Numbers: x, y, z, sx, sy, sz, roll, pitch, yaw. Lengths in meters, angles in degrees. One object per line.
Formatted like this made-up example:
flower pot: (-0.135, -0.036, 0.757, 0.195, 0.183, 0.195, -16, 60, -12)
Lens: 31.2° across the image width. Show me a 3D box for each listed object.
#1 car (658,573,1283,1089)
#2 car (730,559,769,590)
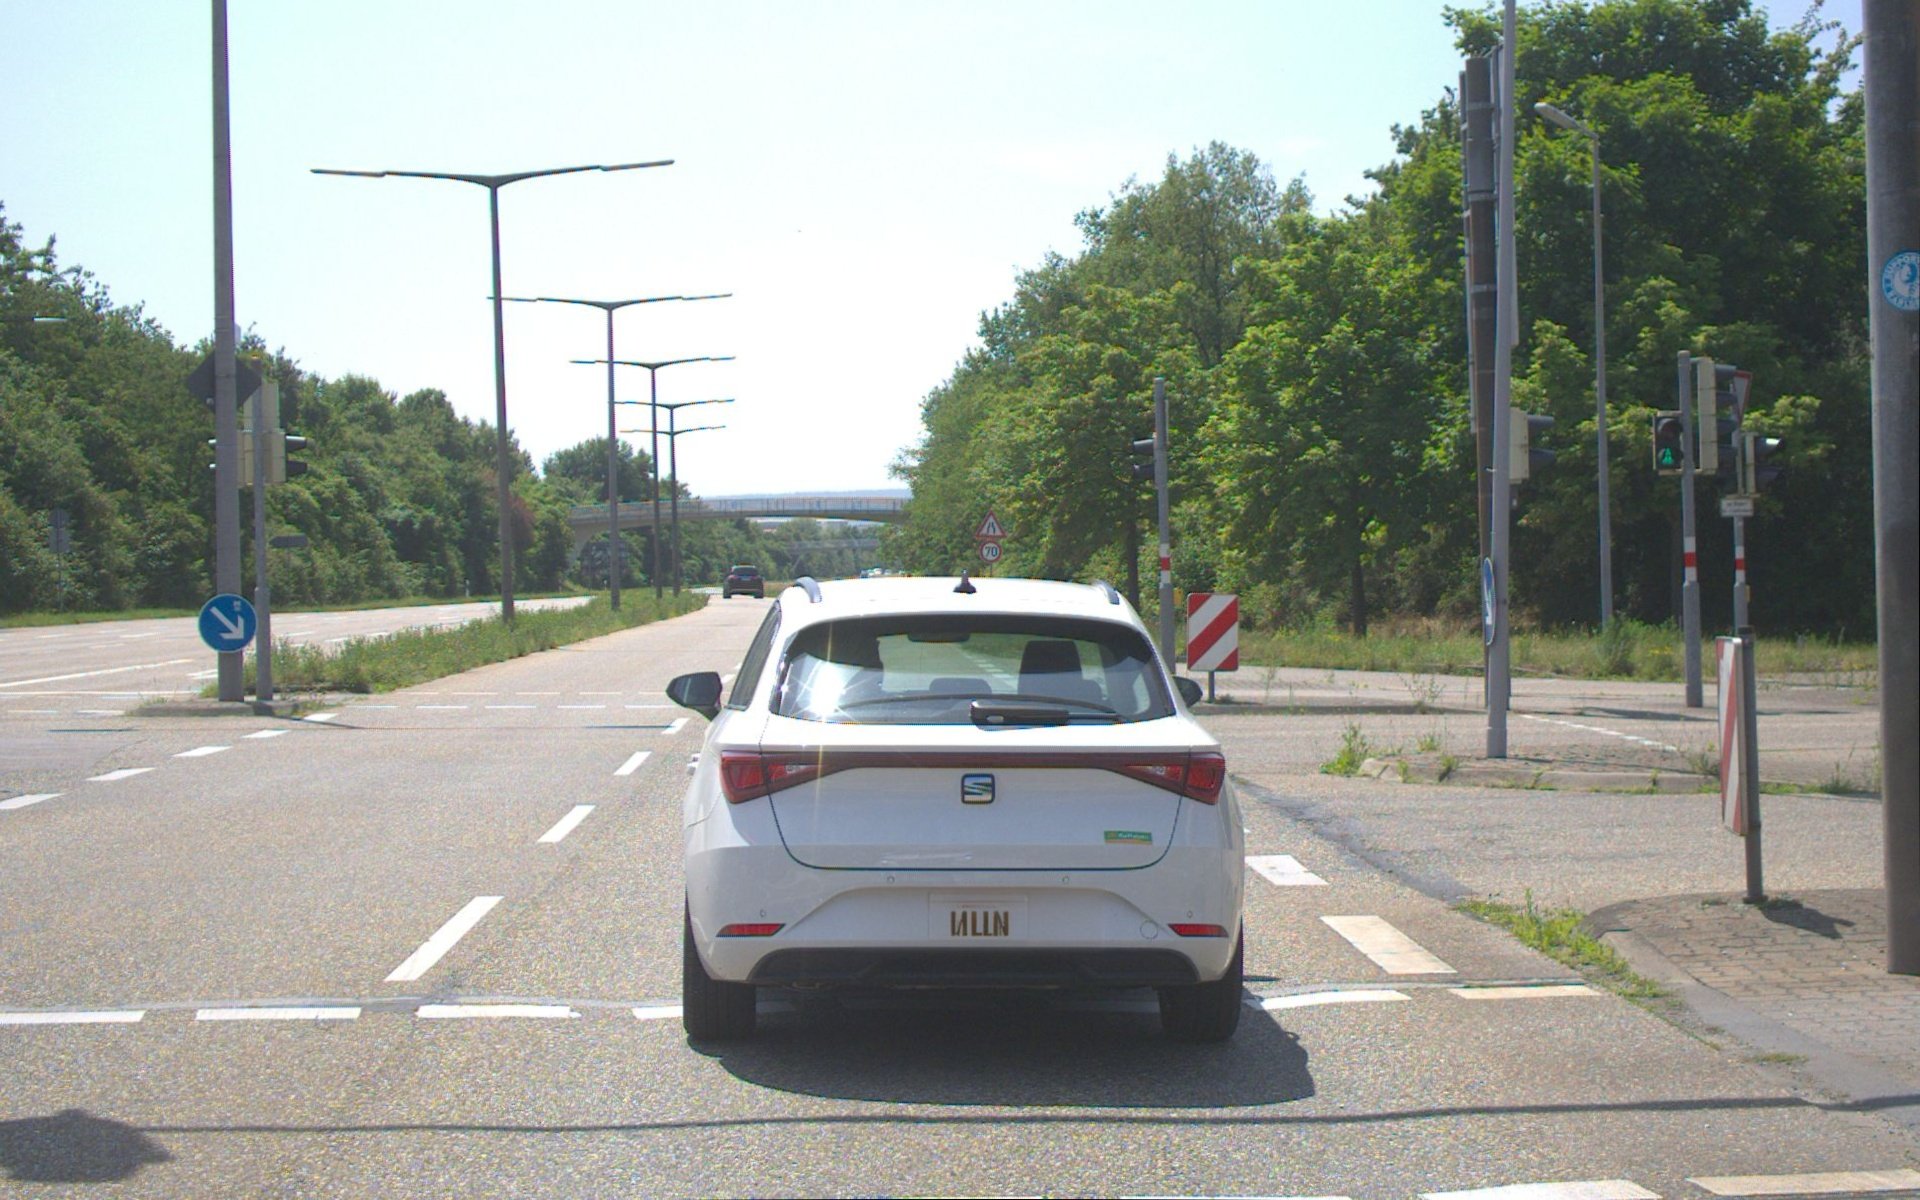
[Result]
car: (-0.011, 0.652, 11.513, 1.734, 1.424, 3.694, 1, 0, -1)
car: (-11.693, -1.419, 190.993, 1.855, 1.703, 4.000, -1, 1, 1)
